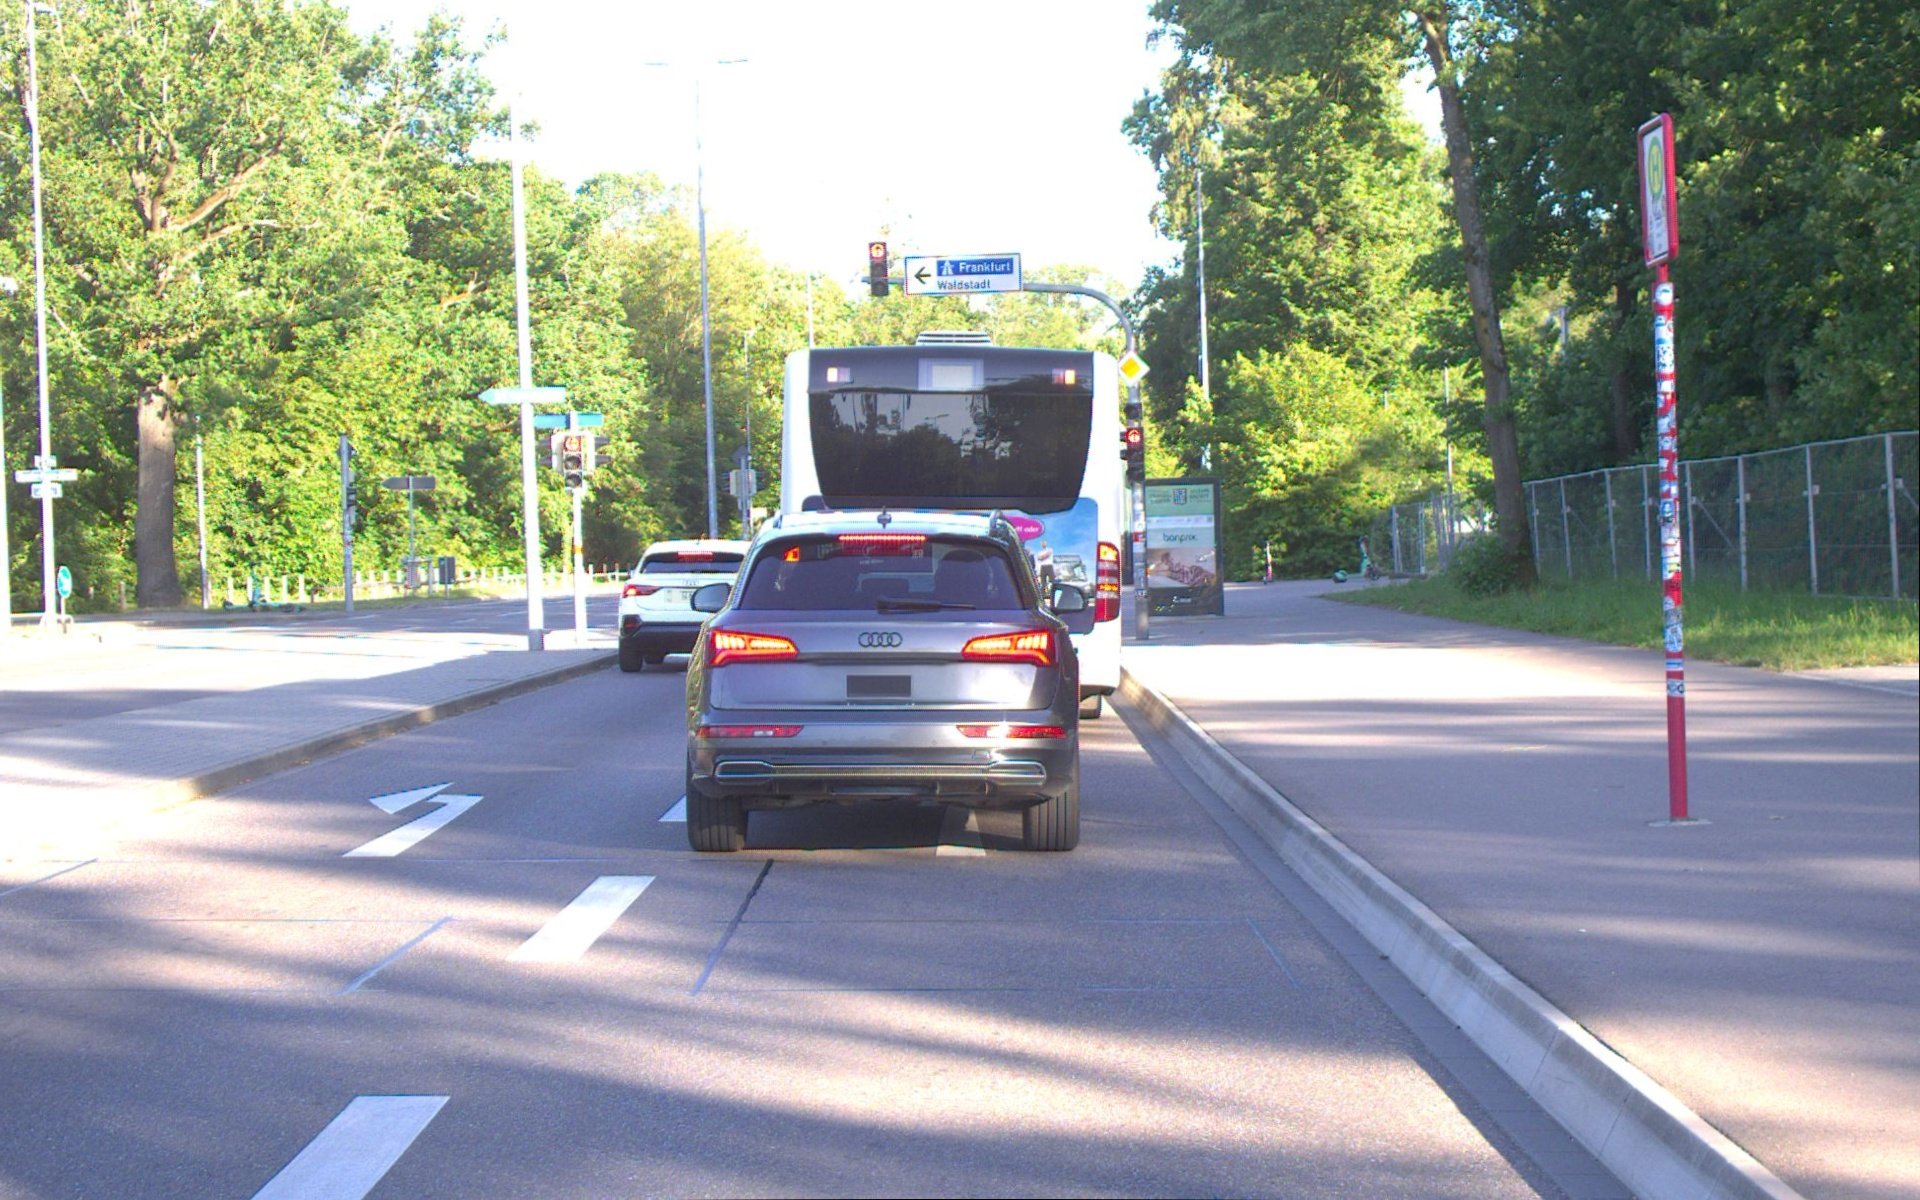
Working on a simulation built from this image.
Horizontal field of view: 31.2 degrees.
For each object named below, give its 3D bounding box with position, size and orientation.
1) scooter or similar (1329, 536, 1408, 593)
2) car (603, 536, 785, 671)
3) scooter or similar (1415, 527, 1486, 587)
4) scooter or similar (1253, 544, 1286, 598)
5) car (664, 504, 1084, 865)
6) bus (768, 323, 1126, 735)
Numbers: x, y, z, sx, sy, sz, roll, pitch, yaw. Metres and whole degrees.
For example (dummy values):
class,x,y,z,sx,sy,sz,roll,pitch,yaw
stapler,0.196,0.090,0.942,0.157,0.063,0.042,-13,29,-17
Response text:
class,x,y,z,sx,sy,sz,roll,pitch,yaw
scooter or similar,10.911,-0.956,91.808,2.015,1.439,0.606,-3,1,-24
car,-3.147,0.002,41.362,1.836,1.513,4.000,-1,1,0
scooter or similar,13.277,-1.159,93.058,0.539,1.562,2.022,-3,1,-39
scooter or similar,8.488,-0.798,94.361,0.508,1.439,2.023,-2,1,-5
car,-0.383,0.346,17.561,1.898,1.626,4.000,0,1,0
bus,-0.078,-0.554,29.566,2.595,2.978,9.327,0,0,0
